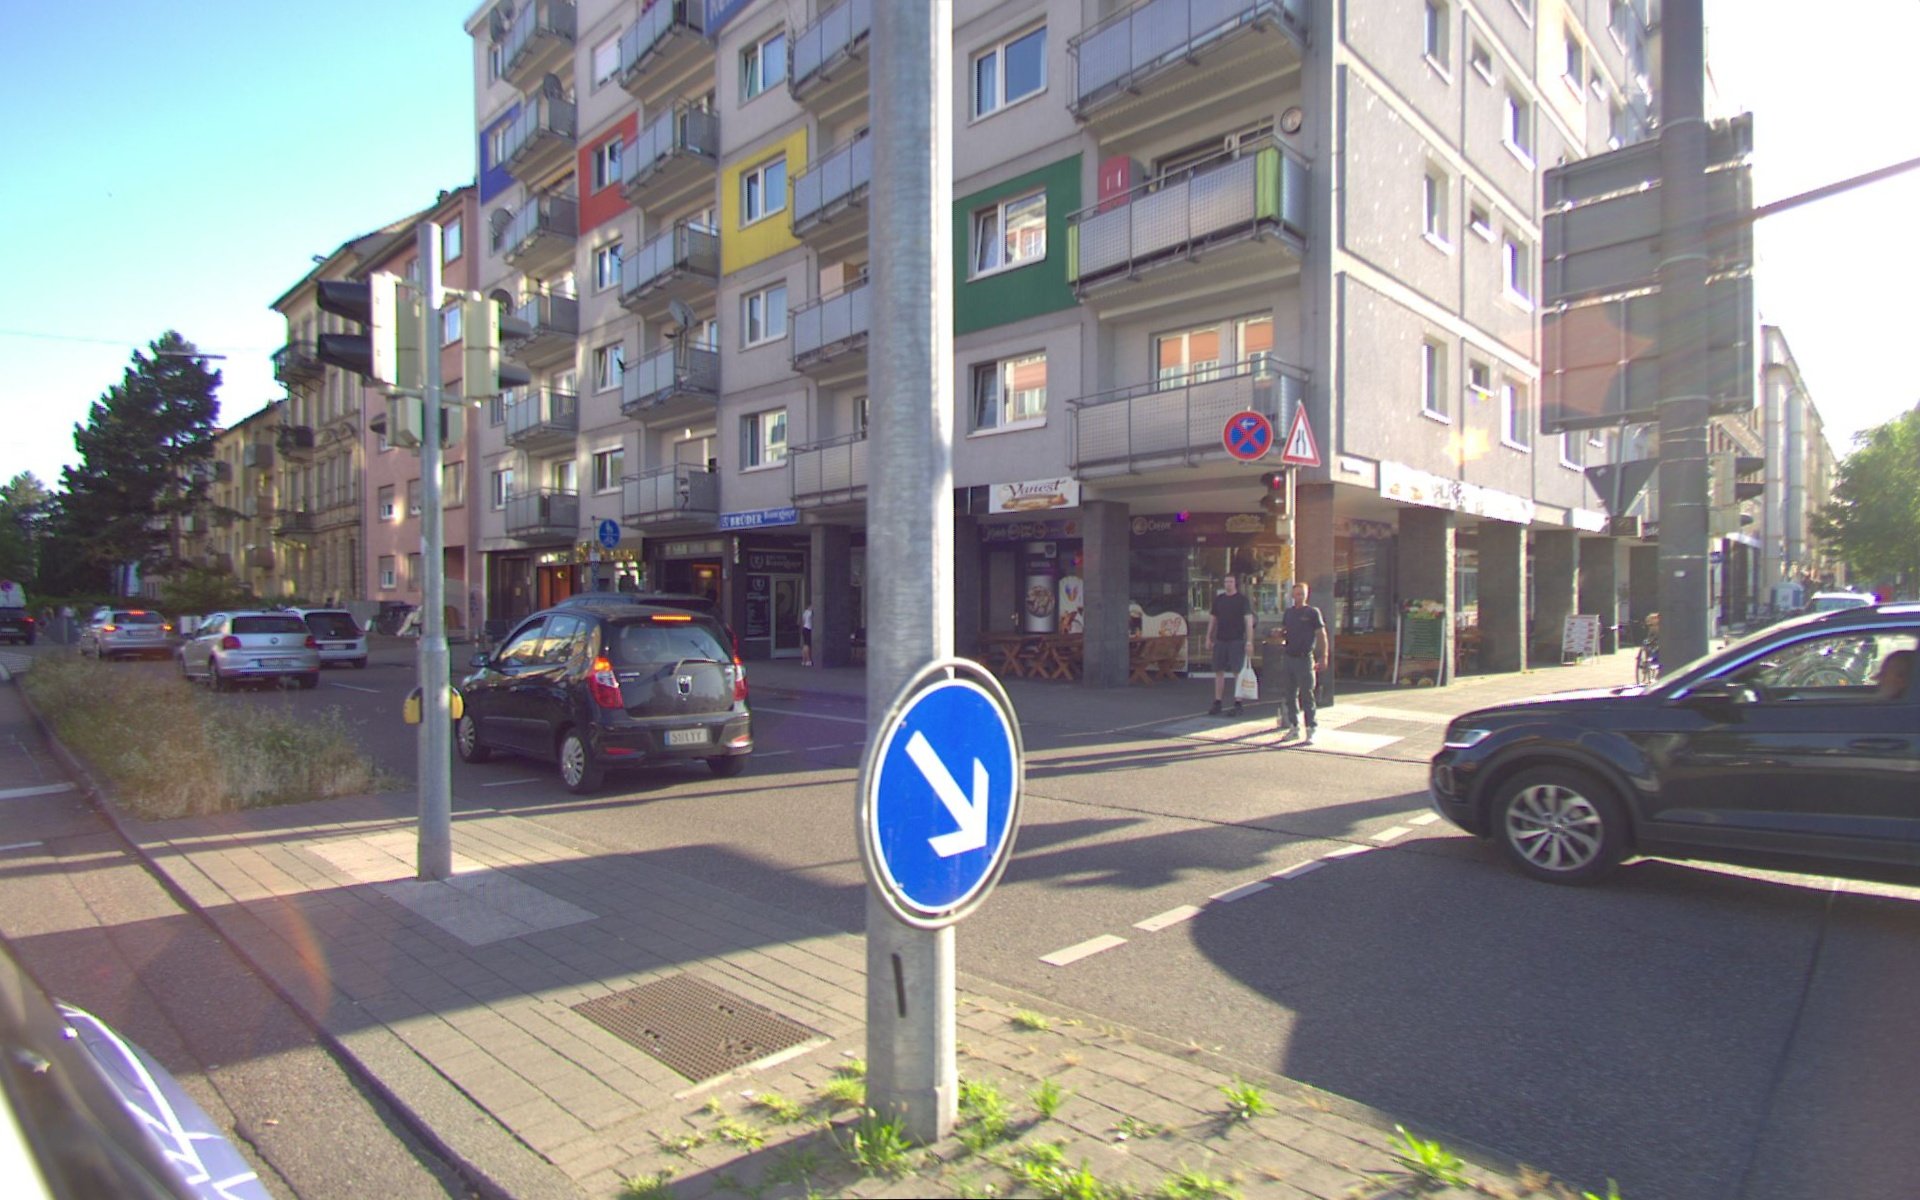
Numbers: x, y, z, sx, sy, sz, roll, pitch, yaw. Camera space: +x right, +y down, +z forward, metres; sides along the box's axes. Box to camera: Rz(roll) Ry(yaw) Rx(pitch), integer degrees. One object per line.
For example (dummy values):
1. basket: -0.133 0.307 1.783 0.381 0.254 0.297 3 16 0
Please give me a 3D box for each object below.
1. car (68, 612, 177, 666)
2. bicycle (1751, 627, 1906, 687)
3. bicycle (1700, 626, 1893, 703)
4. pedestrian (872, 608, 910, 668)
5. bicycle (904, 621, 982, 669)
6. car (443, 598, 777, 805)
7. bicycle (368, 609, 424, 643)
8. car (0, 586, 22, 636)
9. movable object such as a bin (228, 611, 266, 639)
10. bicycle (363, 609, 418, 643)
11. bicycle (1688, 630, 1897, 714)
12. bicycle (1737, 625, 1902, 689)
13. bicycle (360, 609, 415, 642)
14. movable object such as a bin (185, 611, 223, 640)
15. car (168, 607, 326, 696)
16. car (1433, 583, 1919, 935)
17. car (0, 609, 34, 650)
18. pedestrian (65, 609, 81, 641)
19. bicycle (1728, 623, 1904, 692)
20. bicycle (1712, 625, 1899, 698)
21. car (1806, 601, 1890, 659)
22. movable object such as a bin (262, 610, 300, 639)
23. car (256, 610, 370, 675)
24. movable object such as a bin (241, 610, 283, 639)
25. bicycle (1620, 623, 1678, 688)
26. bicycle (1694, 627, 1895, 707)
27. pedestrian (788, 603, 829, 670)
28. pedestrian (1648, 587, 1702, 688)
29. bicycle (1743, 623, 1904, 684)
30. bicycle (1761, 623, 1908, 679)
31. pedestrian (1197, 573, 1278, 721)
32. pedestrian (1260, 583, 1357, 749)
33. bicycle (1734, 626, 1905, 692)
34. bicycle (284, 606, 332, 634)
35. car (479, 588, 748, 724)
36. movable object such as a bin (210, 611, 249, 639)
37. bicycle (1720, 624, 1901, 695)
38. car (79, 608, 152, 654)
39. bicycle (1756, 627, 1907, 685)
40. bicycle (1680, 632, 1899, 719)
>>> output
1. car: -24.330 1.094 29.361 4.099 1.436 1.691 -1 -2 40
2. bicycle: 17.197 1.101 20.087 2.300 1.059 0.638 0 0 44
3. bicycle: 13.082 0.975 15.892 2.300 1.059 0.726 0 0 44
4. pedestrian: -1.538 0.838 22.652 0.799 1.323 0.625 0 0 1
5. bicycle: -0.376 0.975 22.336 1.694 1.006 0.619 0 0 35
6. car: -3.356 0.798 9.395 3.479 1.556 1.560 -1 -2 45
7. bicycle: -21.018 0.964 37.730 0.473 1.200 1.756 -1 0 42
8. car: -54.266 0.603 56.773 4.468 2.777 2.106 0 -1 44
9. movable object such as a bin: -31.746 1.101 45.086 0.838 1.242 1.192 0 0 4
10. bicycle: -21.527 0.970 38.260 0.473 1.200 1.756 -1 0 42
11. bicycle: 12.033 0.997 14.695 2.300 1.059 0.726 0 0 44
12. bicycle: 15.916 1.023 18.786 2.300 1.059 0.726 0 0 44
13. bicycle: -21.886 0.967 38.723 0.473 1.200 1.756 -1 0 42
14. movable object such as a bin: -33.555 1.139 44.936 0.836 1.242 1.194 0 0 -4
15. car: -13.853 0.939 19.592 3.804 1.556 1.657 -1 -2 42
16. car: 4.904 0.717 5.180 4.149 1.577 1.774 -2 -1 44
17. car: -37.782 1.131 39.550 4.096 1.556 1.659 -1 -2 38
18. pedestrian: -45.433 1.287 51.831 0.481 1.612 0.569 -1 0 45
19. bicycle: 14.838 0.966 17.603 2.300 1.059 0.726 0 0 44
20. bicycle: 13.740 0.968 16.510 2.300 1.059 0.726 0 0 44
21. car: 25.183 0.792 28.703 1.696 1.519 3.944 0 0 42
22. movable object such as a bin: -29.915 1.075 44.624 0.838 1.242 1.192 0 0 4
23. car: -16.686 1.058 26.052 3.639 1.556 1.656 -1 -2 44
24. movable object such as a bin: -30.839 1.089 44.738 0.917 1.242 1.291 0 0 4
25. bicycle: 12.475 0.976 18.306 0.520 1.100 2.036 -1 -2 44
26. bicycle: 12.563 0.971 15.302 2.300 1.059 0.726 0 0 44
27. pedestrian: -3.399 0.797 22.713 0.658 1.478 0.617 0 0 39
28. pedestrian: 12.727 0.652 18.022 0.685 1.735 0.602 -1 2 44
29. bicycle: 16.384 0.990 19.258 2.300 1.059 0.554 0 0 44
30. bicycle: 18.289 1.037 21.220 2.300 1.059 0.726 0 0 44
31. pedestrian: 3.709 0.604 13.544 0.601 1.889 0.813 -4 2 -45
32. pedestrian: 3.970 0.719 11.530 0.601 1.800 0.813 -4 2 -42
33. bicycle: 15.388 1.021 18.178 2.300 1.059 0.726 0 0 44
34. bicycle: -28.943 0.871 44.941 0.473 1.200 1.756 -1 0 42
35. car: -5.344 0.758 15.218 4.786 1.724 1.796 -1 -2 43
36. movable object such as a bin: -32.611 1.115 45.204 0.838 1.242 1.192 0 0 4
37. bicycle: 14.291 0.964 17.069 2.300 1.059 0.726 0 0 44
38. car: -31.137 1.130 37.298 2.805 1.605 1.520 -1 -2 39
39. bicycle: 17.743 1.116 20.643 2.300 1.059 0.726 0 0 44
40. bicycle: 11.498 1.003 14.100 2.300 1.059 0.726 0 0 44
